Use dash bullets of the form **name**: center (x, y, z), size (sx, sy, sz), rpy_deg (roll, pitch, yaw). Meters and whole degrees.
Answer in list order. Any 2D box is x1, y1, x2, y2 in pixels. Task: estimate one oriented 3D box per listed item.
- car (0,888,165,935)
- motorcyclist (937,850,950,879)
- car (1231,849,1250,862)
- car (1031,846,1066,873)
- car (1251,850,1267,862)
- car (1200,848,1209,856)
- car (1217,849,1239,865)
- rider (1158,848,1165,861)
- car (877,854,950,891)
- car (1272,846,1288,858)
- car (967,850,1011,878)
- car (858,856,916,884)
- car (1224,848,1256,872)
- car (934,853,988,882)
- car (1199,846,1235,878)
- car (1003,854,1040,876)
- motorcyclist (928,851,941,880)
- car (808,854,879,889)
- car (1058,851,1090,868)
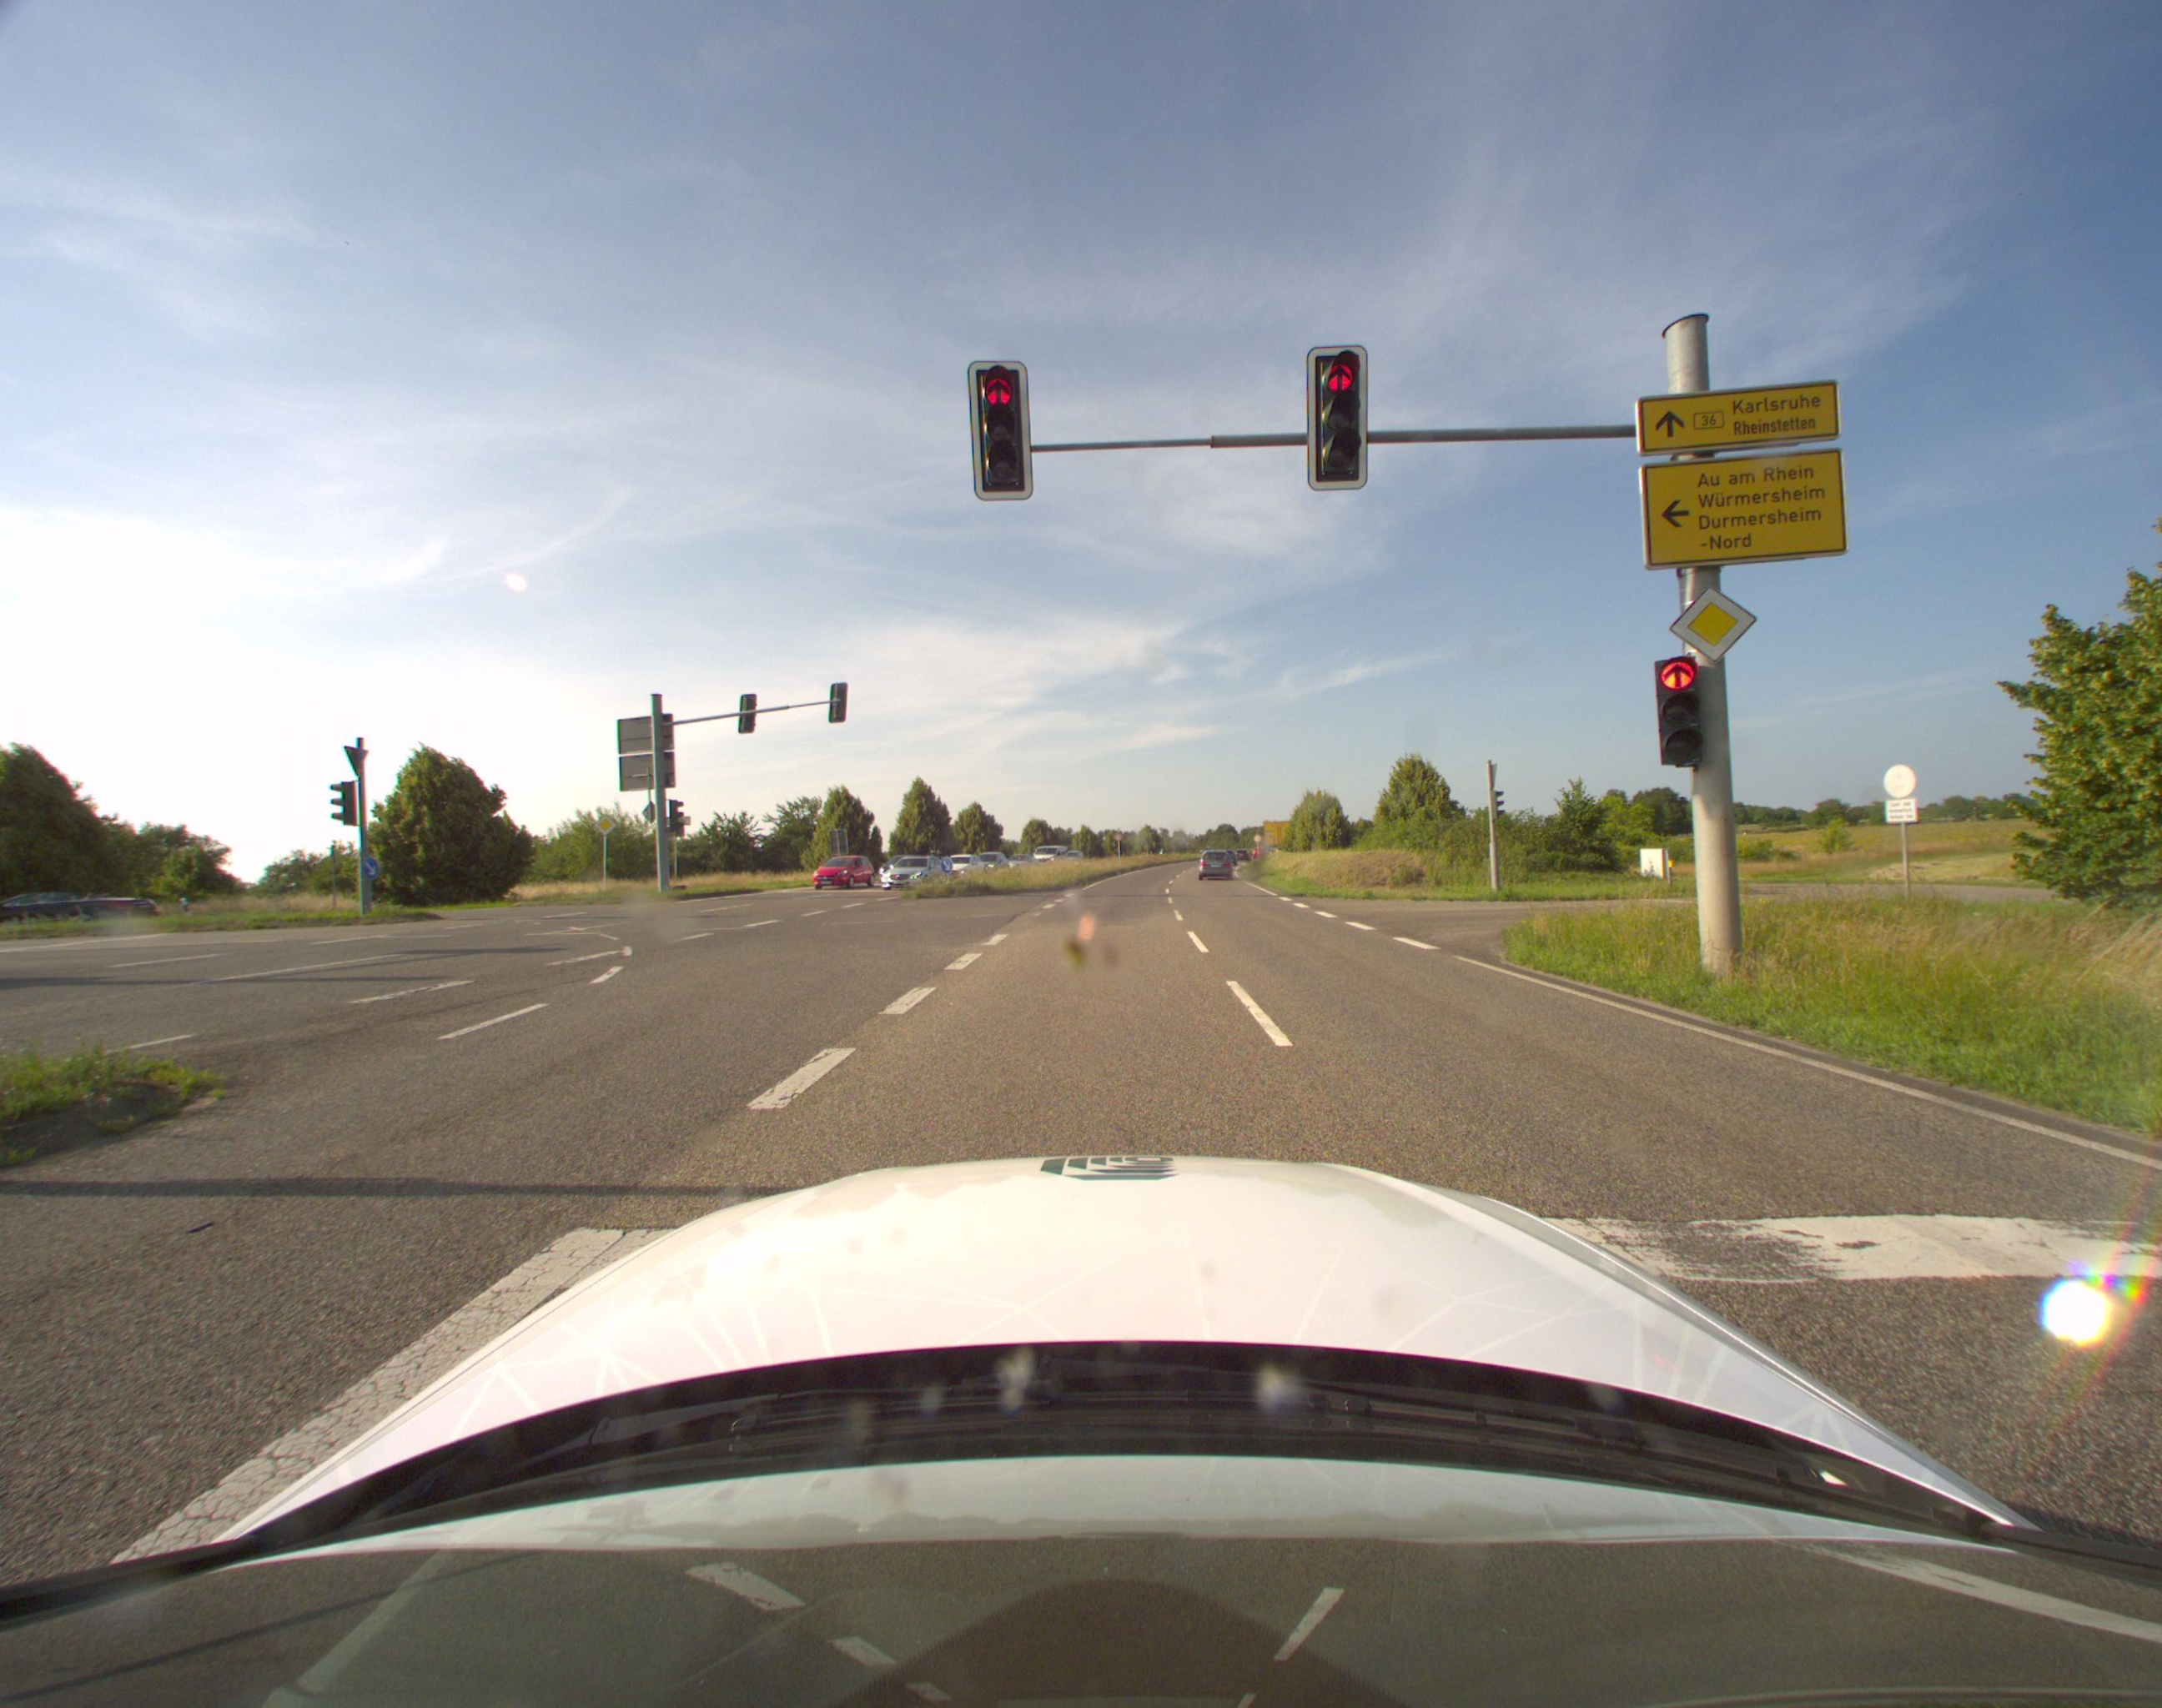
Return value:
- **car**: center (-32.650, 1.830, 25.752), size (4.659, 1.282, 1.716), rpy_deg (-2, 0, -17)
- **motorcyclist**: center (-8.883, 0.682, 52.672), size (0.660, 1.817, 0.605), rpy_deg (-2, 0, -1)
- **car**: center (18.798, 0.139, 95.659), size (1.900, 1.416, 3.811), rpy_deg (-1, -1, 15)
- **car**: center (-2.555, 0.437, 65.215), size (1.913, 2.078, 4.255), rpy_deg (-2, 0, 10)
- **car**: center (25.756, 0.291, 117.725), size (1.880, 1.565, 4.297), rpy_deg (-1, -1, 18)
- **car**: center (23.423, -0.435, 154.037), size (1.396, 1.402, 3.434), rpy_deg (-2, 0, 13)
- **car**: center (13.684, 0.261, 75.665), size (1.760, 1.492, 3.999), rpy_deg (-1, 0, 13)
- **rider**: center (13.053, 0.055, 131.899), size (0.861, 2.013, 0.775), rpy_deg (-2, 0, 17)
- **car**: center (-7.270, 0.758, 35.821), size (1.777, 1.488, 4.659), rpy_deg (-2, 0, 6)
- **car**: center (33.148, -0.359, 135.624), size (1.892, 1.800, 4.300), rpy_deg (-1, -2, 22)
- **car**: center (-5.570, 0.583, 49.734), size (1.777, 1.568, 4.058), rpy_deg (-2, 0, 6)
- **car**: center (-10.517, 0.843, 44.510), size (1.777, 1.433, 4.058), rpy_deg (-2, 0, 6)
- **car**: center (10.961, 0.414, 55.972), size (1.796, 1.565, 4.549), rpy_deg (-1, 0, 15)
- **car**: center (-6.317, 0.684, 43.473), size (1.777, 1.433, 4.316), rpy_deg (-2, 0, 6)
- **car**: center (7.372, 0.438, 43.886), size (1.773, 1.605, 4.207), rpy_deg (-1, -1, 10)
- **car**: center (-4.051, 0.740, 55.855), size (1.777, 1.385, 4.058), rpy_deg (-2, 0, 6)
- **motorcyclist**: center (-8.945, 0.673, 49.711), size (0.660, 1.747, 0.605), rpy_deg (-2, 0, -1)
- **car**: center (-10.845, 0.762, 37.516), size (1.711, 1.488, 3.812), rpy_deg (-2, 0, 7)
- **car**: center (-0.585, 0.490, 73.496), size (1.772, 1.385, 4.068), rpy_deg (-2, 0, 16)
